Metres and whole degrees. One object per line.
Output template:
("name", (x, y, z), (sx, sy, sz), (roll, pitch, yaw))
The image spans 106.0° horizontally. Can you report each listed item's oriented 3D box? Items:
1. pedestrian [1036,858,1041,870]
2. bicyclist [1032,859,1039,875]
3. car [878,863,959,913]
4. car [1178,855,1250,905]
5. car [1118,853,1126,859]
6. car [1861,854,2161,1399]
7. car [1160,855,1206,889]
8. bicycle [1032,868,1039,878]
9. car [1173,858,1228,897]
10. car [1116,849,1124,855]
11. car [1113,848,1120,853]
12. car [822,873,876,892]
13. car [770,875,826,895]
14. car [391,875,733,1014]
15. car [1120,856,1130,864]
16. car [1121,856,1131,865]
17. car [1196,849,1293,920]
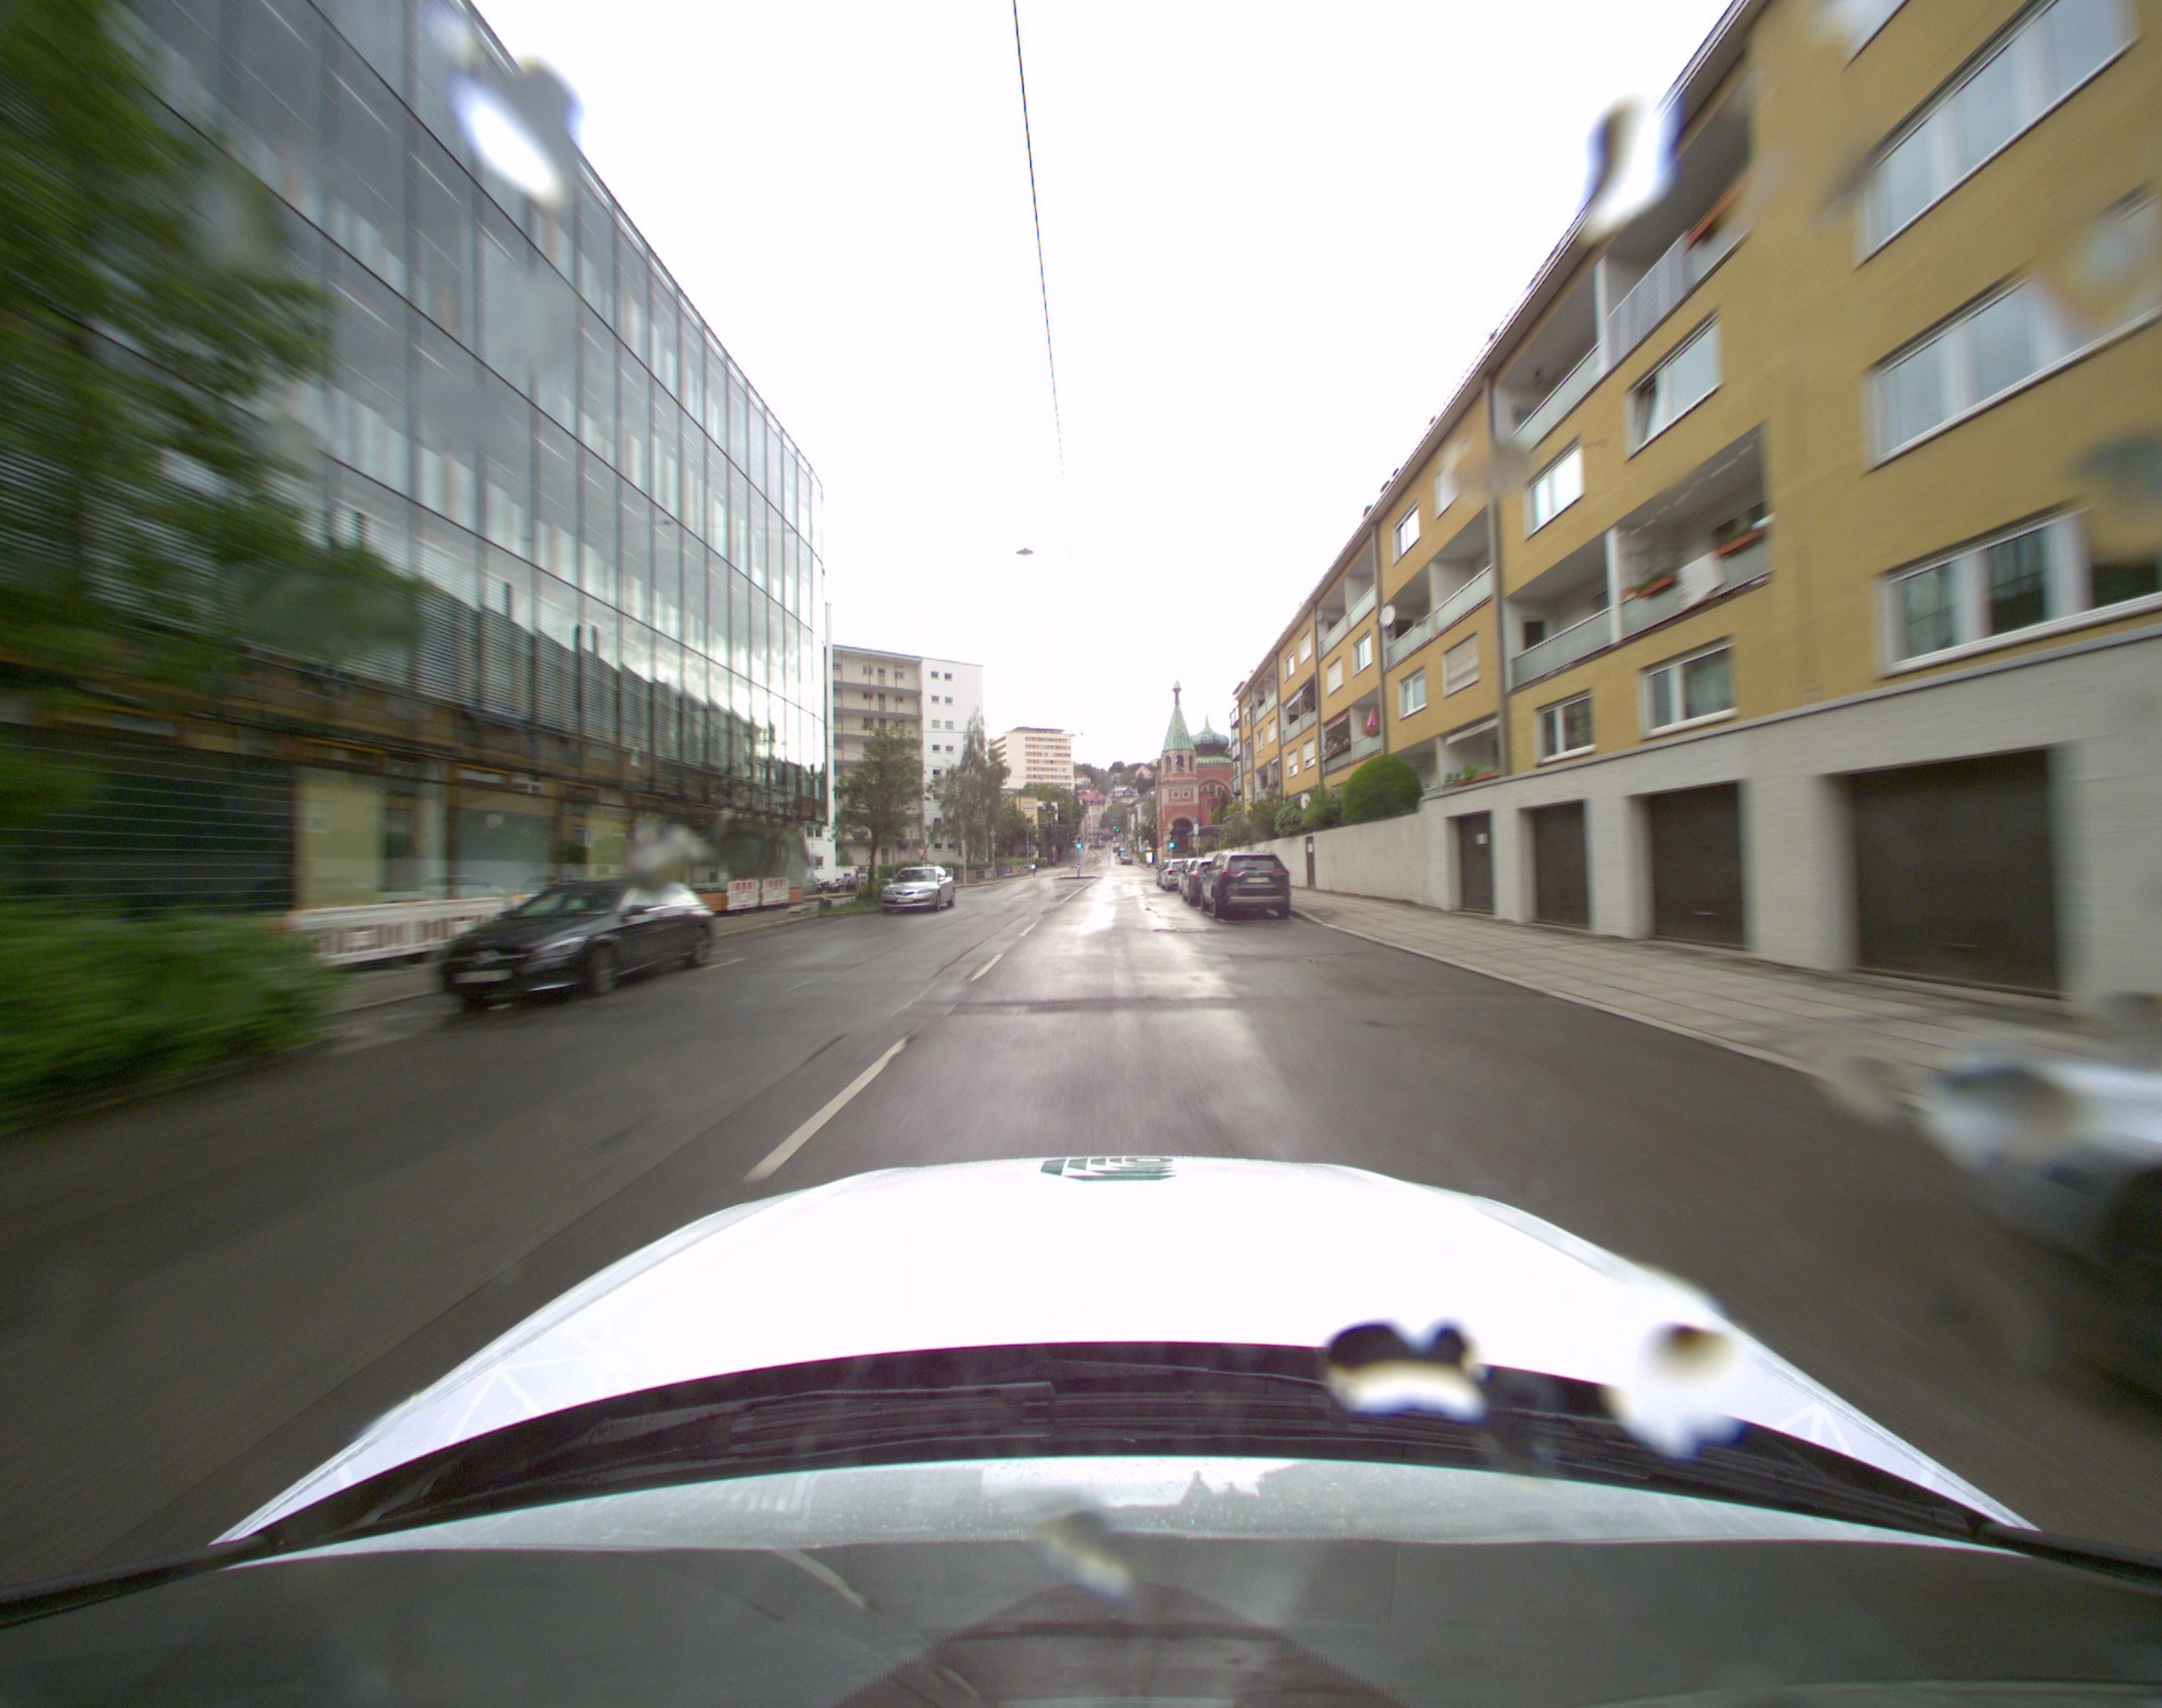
("pedestrian", (-7.115, 1.630, 136.084), (0.885, 1.893, 0.921), (-2, -1, -4))
("bicyclist", (-4.824, 1.423, 86.677), (0.675, 1.661, 0.650), (-2, -1, -1))
("car", (-5.256, 1.083, 26.918), (1.704, 1.450, 4.294), (-2, -1, 1))
("car", (4.319, 0.813, 26.944), (1.811, 1.522, 4.077), (0, 0, 2))
("car", (9.714, 0.456, 192.267), (1.885, 1.510, 4.001), (0, 0, 2))
("car", (3.611, 0.680, 0.940), (1.658, 1.400, 3.921), (-2, -1, 1))
("car", (4.772, 0.825, 38.675), (1.811, 1.522, 4.077), (0, 0, 2))
("bicycle", (-4.811, 2.018, 86.630), (0.675, 1.108, 1.799), (-2, -1, -1))
("car", (4.865, 0.916, 33.590), (1.811, 1.522, 4.077), (0, 0, 2))
("car", (10.056, -0.479, 208.569), (1.901, 1.510, 4.001), (0, 0, 2))
("car", (10.161, -0.945, 232.701), (1.901, 1.510, 4.001), (0, 0, 2))
("car", (-19.997, 2.440, 70.251), (4.018, 1.510, 1.780), (-1, 0, -37))
("car", (-23.478, 2.535, 67.513), (4.018, 1.510, 1.780), (-1, 0, -37))
("car", (-6.817, 1.076, 11.463), (1.797, 1.450, 4.656), (-2, -1, 0))
("car", (9.055, 1.233, 167.236), (1.843, 1.766, 4.003), (-1, -1, 3))
("car", (8.669, 1.297, 155.905), (1.724, 1.653, 4.005), (-2, 0, 5))
("car", (4.137, 0.725, 21.180), (1.811, 1.652, 4.077), (0, 0, 2))
